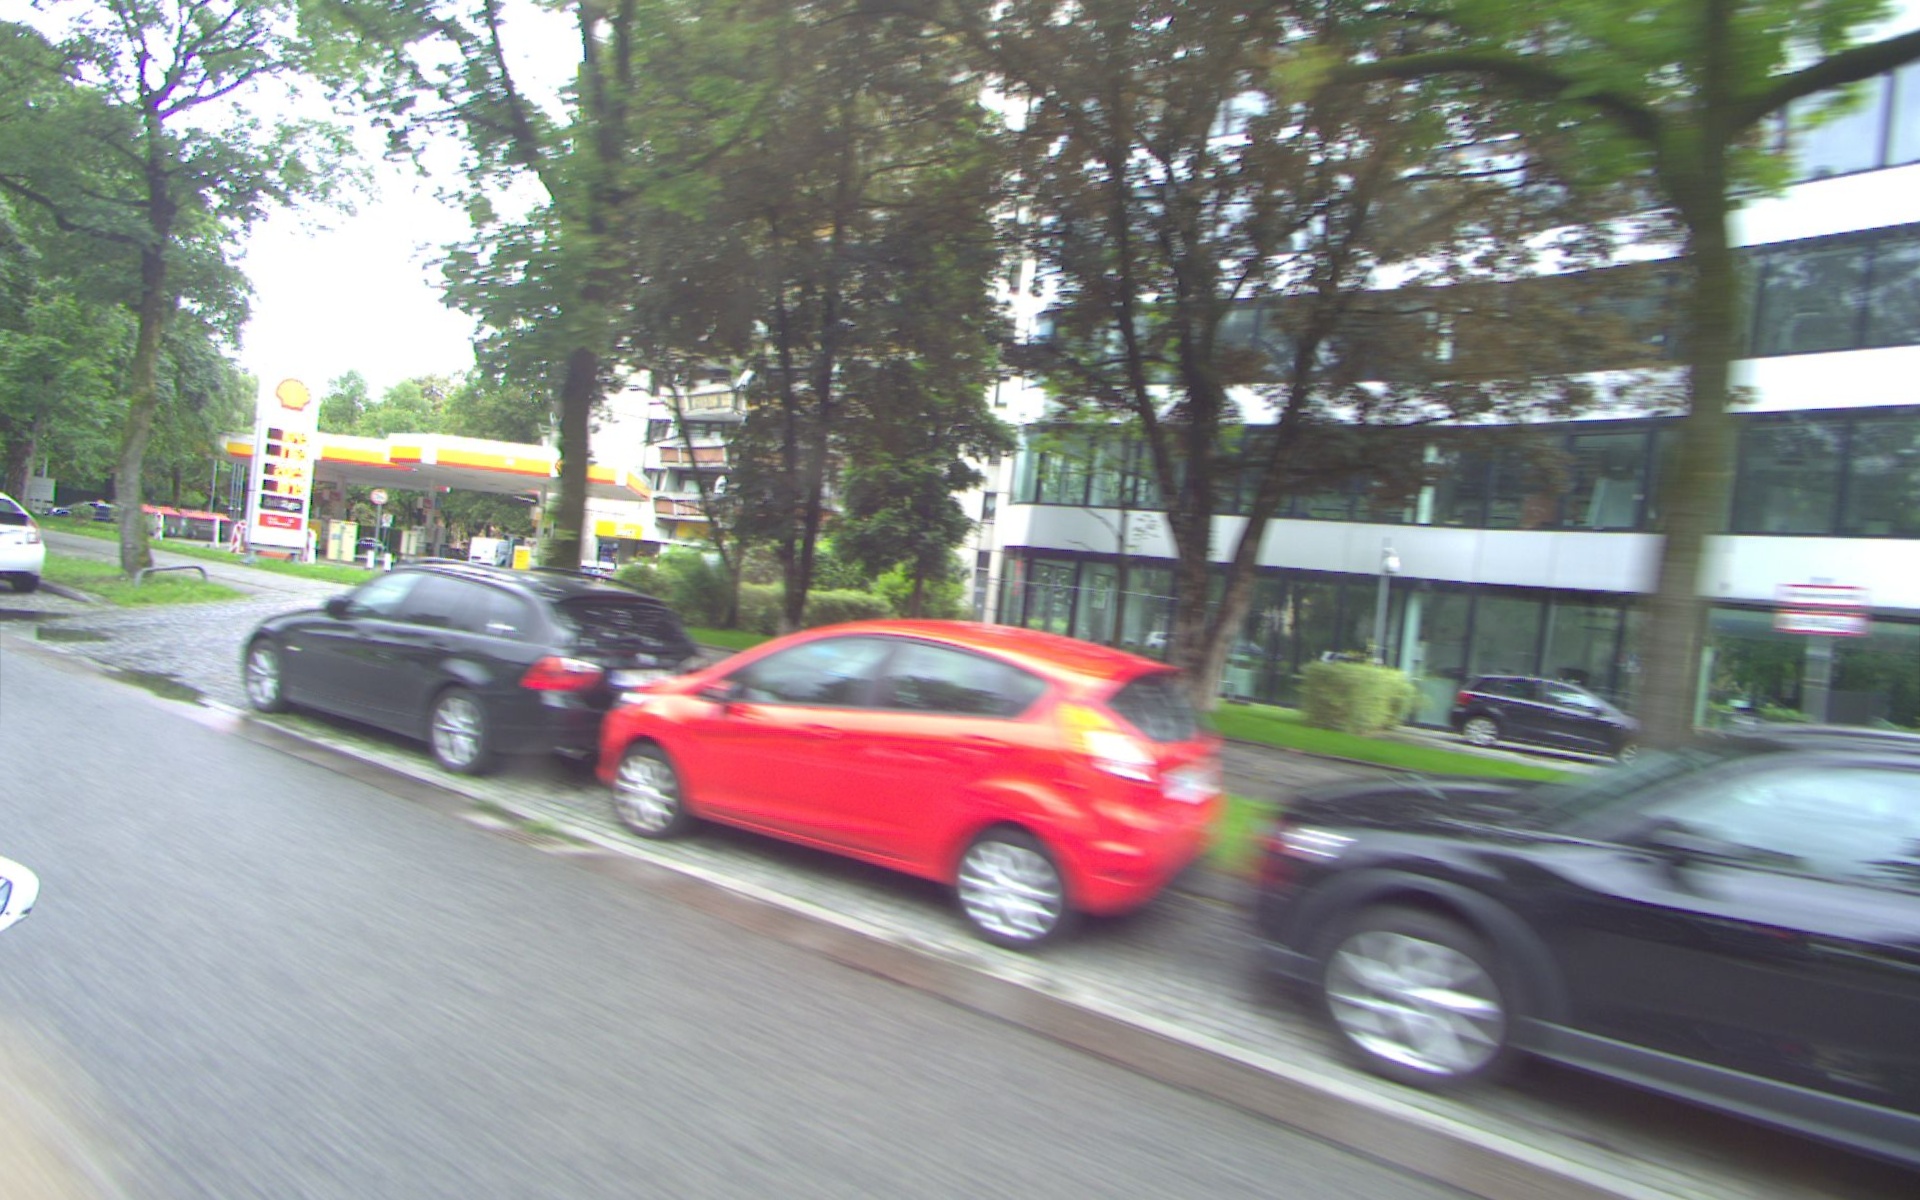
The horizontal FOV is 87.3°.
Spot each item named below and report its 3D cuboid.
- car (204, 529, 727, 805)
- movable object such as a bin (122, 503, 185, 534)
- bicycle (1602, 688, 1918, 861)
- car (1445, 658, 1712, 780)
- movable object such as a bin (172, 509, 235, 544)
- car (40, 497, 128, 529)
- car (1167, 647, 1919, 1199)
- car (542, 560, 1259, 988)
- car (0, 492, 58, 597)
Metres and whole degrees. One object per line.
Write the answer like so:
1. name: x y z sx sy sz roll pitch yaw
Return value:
1. car: -4.199 0.371 8.276 4.506 1.473 1.676 7 2 32
2. movable object such as a bin: -41.292 -4.165 51.510 1.506 1.278 2.062 7 0 32
3. bicycle: 7.630 1.620 9.778 2.209 1.198 0.749 7 1 32
4. car: 11.552 2.163 19.060 3.981 1.567 2.021 7 0 31
5. movable object such as a bin: -40.147 -3.910 53.414 1.807 1.505 2.063 7 0 32
6. car: -54.715 -5.437 62.850 1.903 1.633 3.871 8 5 38
7. car: 3.163 1.204 3.753 4.216 1.531 1.779 7 2 34
8. car: -0.487 0.734 6.033 3.954 1.521 1.676 7 2 32
9. car: -16.034 -1.038 15.644 4.556 1.473 1.761 7 2 32
